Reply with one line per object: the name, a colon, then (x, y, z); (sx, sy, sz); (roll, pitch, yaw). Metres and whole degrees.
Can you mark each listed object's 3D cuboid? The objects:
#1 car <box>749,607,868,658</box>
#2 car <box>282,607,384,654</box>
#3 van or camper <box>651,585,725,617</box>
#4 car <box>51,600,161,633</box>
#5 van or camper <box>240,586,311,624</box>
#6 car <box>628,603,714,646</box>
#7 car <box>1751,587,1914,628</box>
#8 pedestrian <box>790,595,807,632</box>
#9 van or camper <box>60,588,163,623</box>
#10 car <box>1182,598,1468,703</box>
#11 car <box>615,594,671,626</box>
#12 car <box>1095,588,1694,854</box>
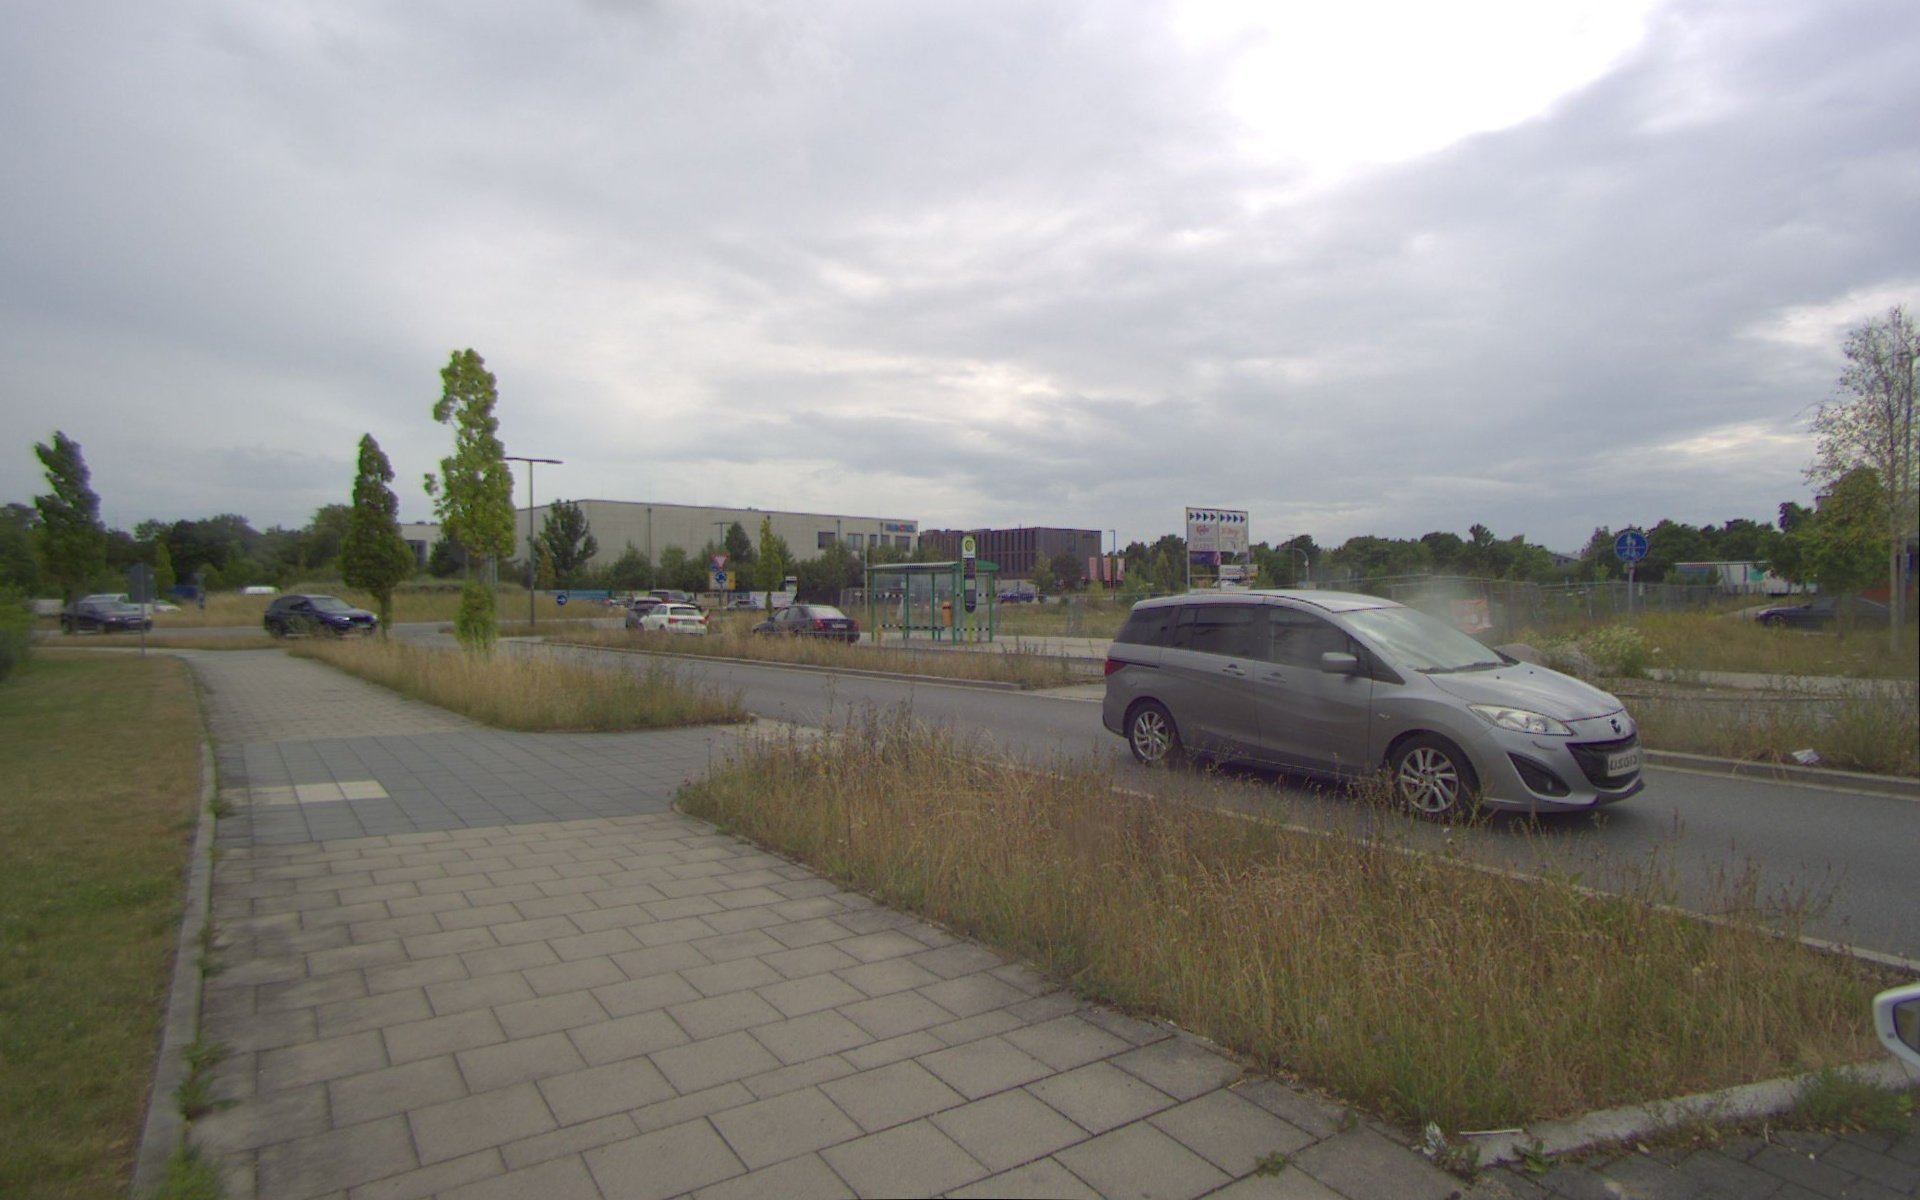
car: (-4.748, 0.949, 31.030); (1.775, 1.414, 4.324); (1, 0, -37)
car: (-24.449, 1.145, 39.135); (3.931, 1.662, 1.890); (0, 1, 33)
van or camper: (-16.091, 0.049, 59.655); (1.961, 1.772, 4.571); (1, 1, 20)
car: (-36.281, 0.686, 42.725); (3.230, 1.372, 1.559); (0, 1, -3)
van or camper: (-50.126, 0.318, 73.702); (1.963, 2.617, 5.460); (1, 1, -7)
car: (-11.257, 0.921, 38.950); (1.744, 1.500, 4.009); (0, 1, -40)
car: (36.836, 0.283, 42.527); (1.984, 1.578, 4.965); (0, 1, -40)
pedestrian: (-7.711, 0.618, 47.879); (0.729, 1.745, 0.650); (1, 1, -3)
van or camper: (-48.100, 0.297, 57.080); (1.945, 1.916, 4.838); (-1, 0, -4)
car: (6.027, 0.741, 17.034); (1.782, 1.486, 4.271); (-1, 1, -39)
car: (-14.672, 0.410, 46.420); (1.698, 1.361, 4.032); (0, 1, -29)
car: (3.275, 0.727, 8.446); (1.802, 1.584, 4.360); (-2, 1, -34)
